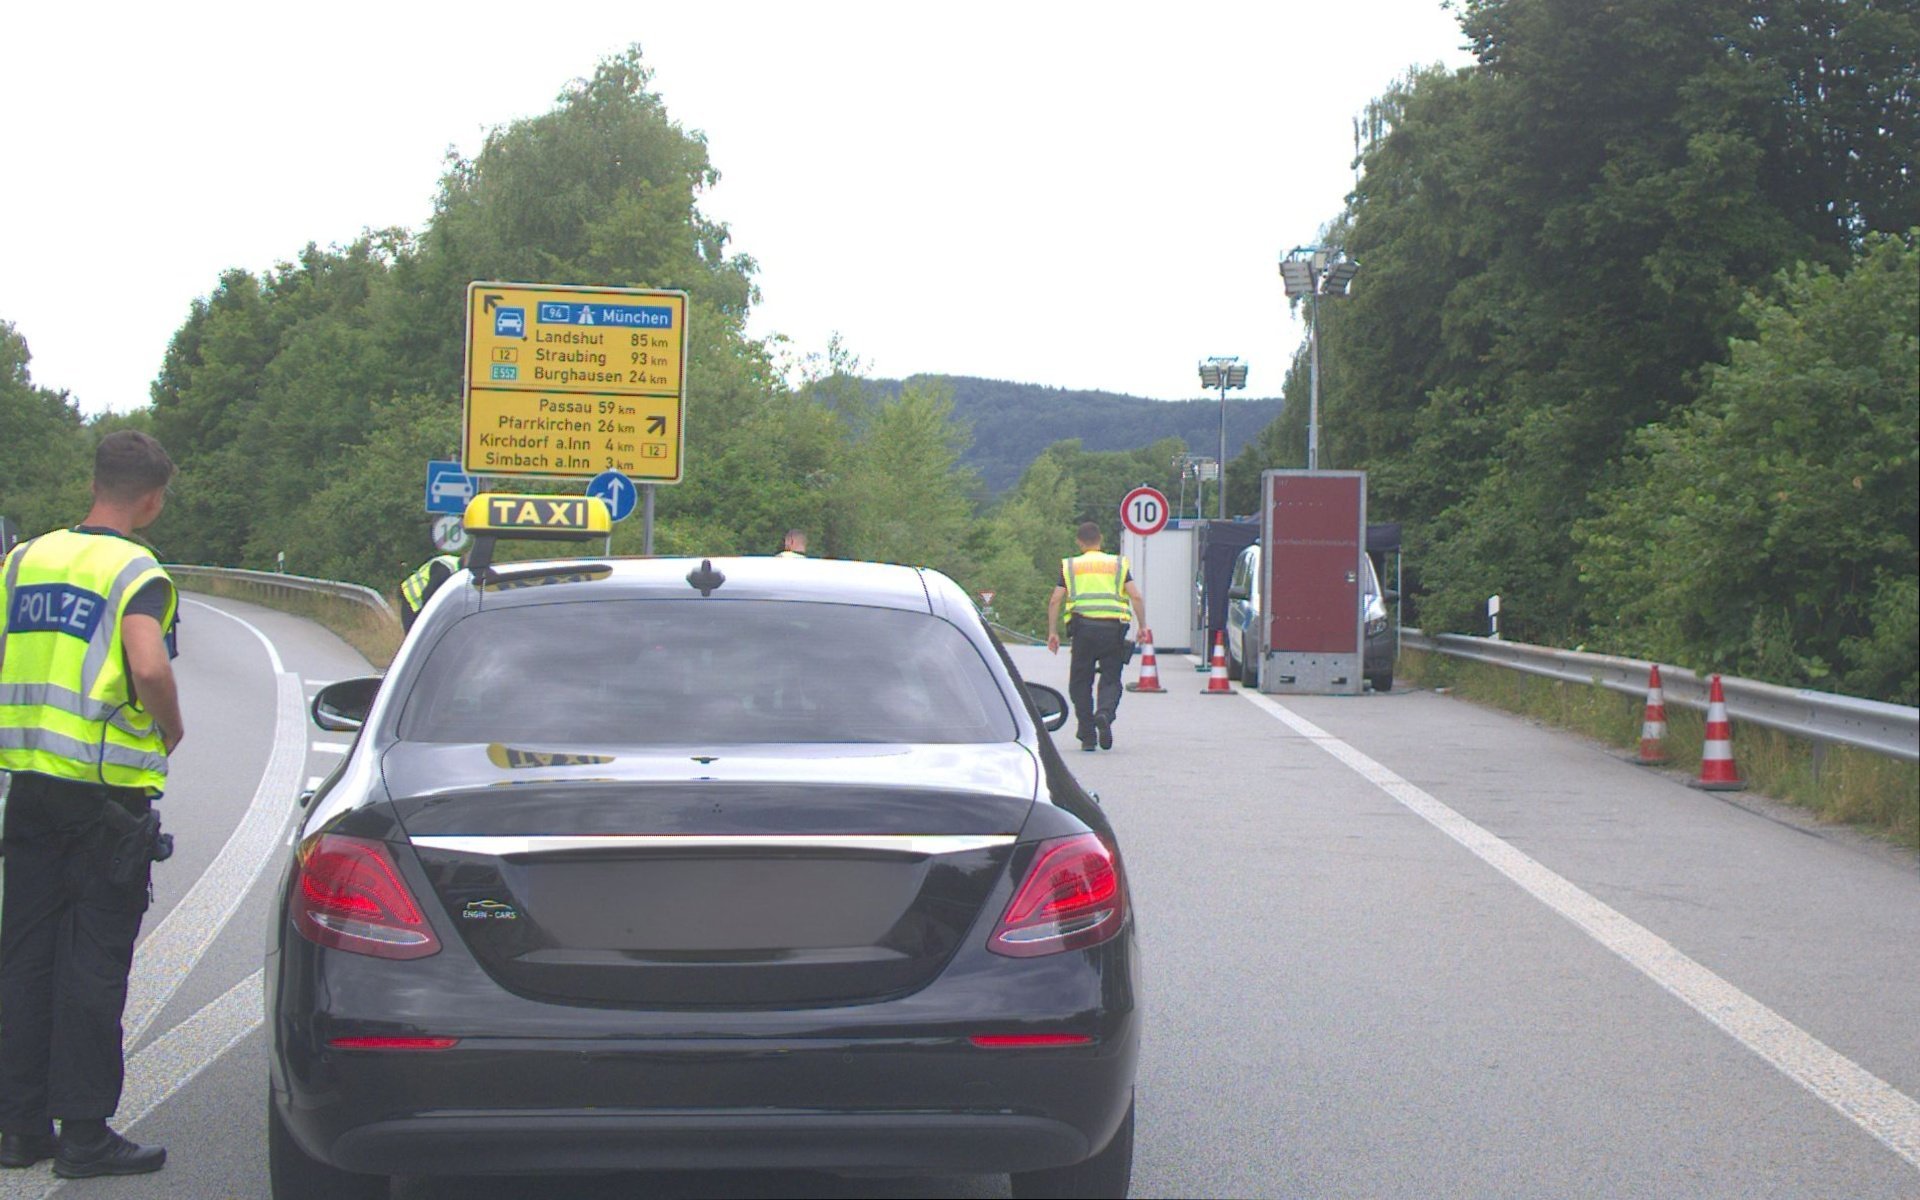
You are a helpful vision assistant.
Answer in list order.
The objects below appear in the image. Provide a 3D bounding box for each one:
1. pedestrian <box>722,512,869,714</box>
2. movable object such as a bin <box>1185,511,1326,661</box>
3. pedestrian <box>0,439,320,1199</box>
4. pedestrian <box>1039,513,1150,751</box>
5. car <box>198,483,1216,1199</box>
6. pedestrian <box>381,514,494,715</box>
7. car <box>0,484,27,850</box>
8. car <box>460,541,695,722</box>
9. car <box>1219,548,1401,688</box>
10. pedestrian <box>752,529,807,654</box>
[{"bbox_3d":[-1.414,0.103,29.502,0.908,1.692,0.914,0,1,-32],"label":"pedestrian"},{"bbox_3d":[4.649,-0.243,54.592,1.993,2.272,4.168,1,1,2],"label":"movable object such as a bin"},{"bbox_3d":[-2.057,0.500,8.011,0.761,1.712,0.816,1,1,37],"label":"pedestrian"},{"bbox_3d":[1.038,0.241,26.711,0.812,1.824,0.809,0,1,-1],"label":"pedestrian"},{"bbox_3d":[-0.653,0.552,8.484,1.855,1.589,4.376,0,1,-5],"label":"car"},{"bbox_3d":[-4.665,0.117,30.743,0.910,1.763,0.912,1,1,-3],"label":"pedestrian"},{"bbox_3d":[-5.385,0.336,14.910,1.868,1.737,4.009,0,1,-4],"label":"car"},{"bbox_3d":[-3.345,0.230,30.739,1.855,1.493,4.257,0,1,-3],"label":"car"},{"bbox_3d":[4.589,0.187,45.754,1.916,1.672,5.083,2,1,1],"label":"car"},{"bbox_3d":[-2.837,-0.139,54.096,0.664,1.954,0.759,0,1,15],"label":"pedestrian"}]
